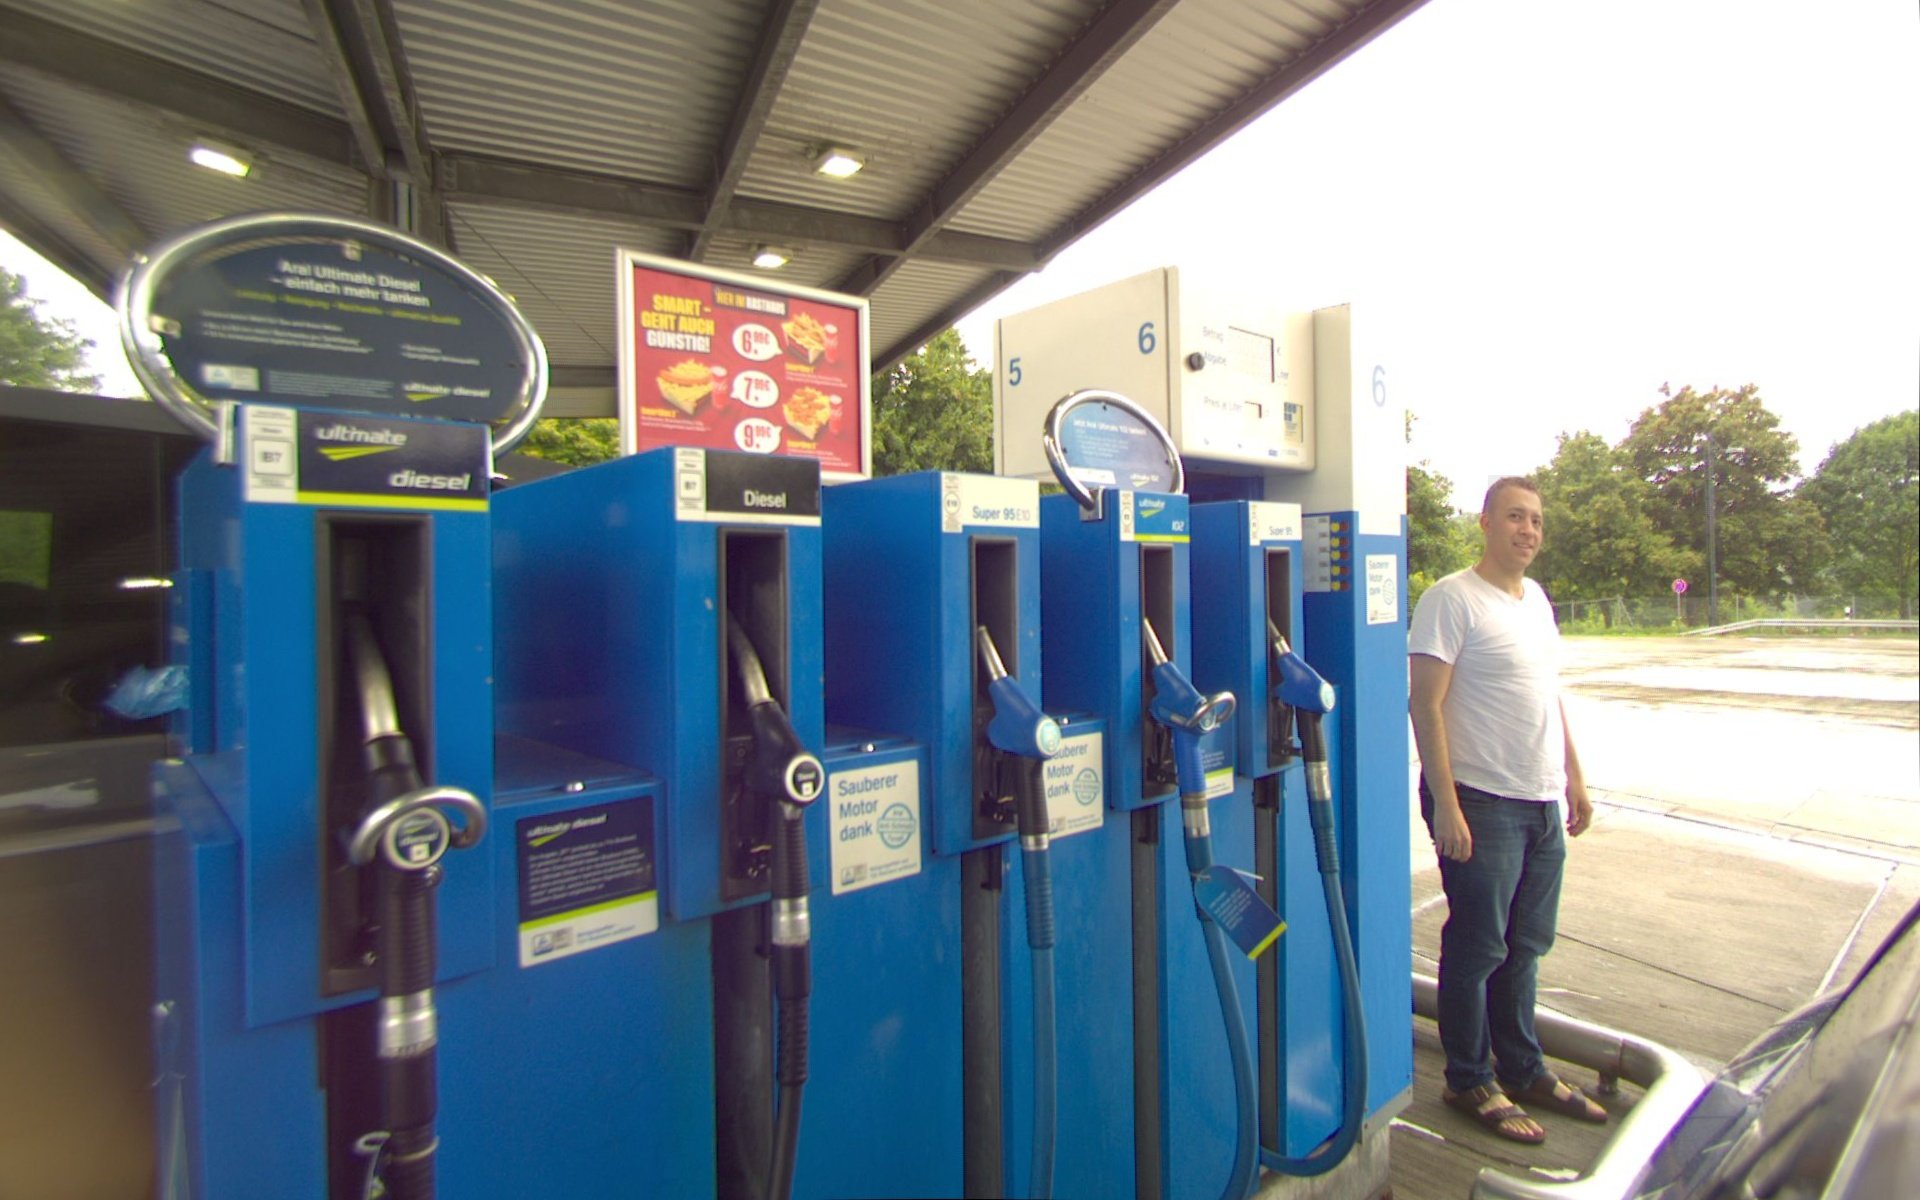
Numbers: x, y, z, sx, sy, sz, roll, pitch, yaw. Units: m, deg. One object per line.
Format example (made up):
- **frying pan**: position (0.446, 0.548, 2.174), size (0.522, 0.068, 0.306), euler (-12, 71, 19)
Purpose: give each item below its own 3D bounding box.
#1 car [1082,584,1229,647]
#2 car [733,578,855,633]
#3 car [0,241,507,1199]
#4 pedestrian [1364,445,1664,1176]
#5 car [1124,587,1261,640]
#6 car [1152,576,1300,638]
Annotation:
- **car**: position (5.805, 0.419, 29.976), size (4.123, 1.752, 1.990), euler (0, 0, 17)
- **car**: position (-5.552, 0.149, 33.488), size (1.967, 1.683, 4.170), euler (0, 0, -44)
- **car**: position (-3.009, 0.413, 1.491), size (3.930, 1.973, 1.819), euler (0, 0, -41)
- **pedestrian**: position (1.584, 0.518, 2.903), size (0.621, 1.832, 0.495), euler (-2, 1, -31)
- **car**: position (7.408, 0.402, 32.161), size (4.123, 1.576, 1.990), euler (0, 0, 17)
- **car**: position (8.942, 0.205, 34.347), size (4.700, 2.011, 2.007), euler (0, 0, 14)
